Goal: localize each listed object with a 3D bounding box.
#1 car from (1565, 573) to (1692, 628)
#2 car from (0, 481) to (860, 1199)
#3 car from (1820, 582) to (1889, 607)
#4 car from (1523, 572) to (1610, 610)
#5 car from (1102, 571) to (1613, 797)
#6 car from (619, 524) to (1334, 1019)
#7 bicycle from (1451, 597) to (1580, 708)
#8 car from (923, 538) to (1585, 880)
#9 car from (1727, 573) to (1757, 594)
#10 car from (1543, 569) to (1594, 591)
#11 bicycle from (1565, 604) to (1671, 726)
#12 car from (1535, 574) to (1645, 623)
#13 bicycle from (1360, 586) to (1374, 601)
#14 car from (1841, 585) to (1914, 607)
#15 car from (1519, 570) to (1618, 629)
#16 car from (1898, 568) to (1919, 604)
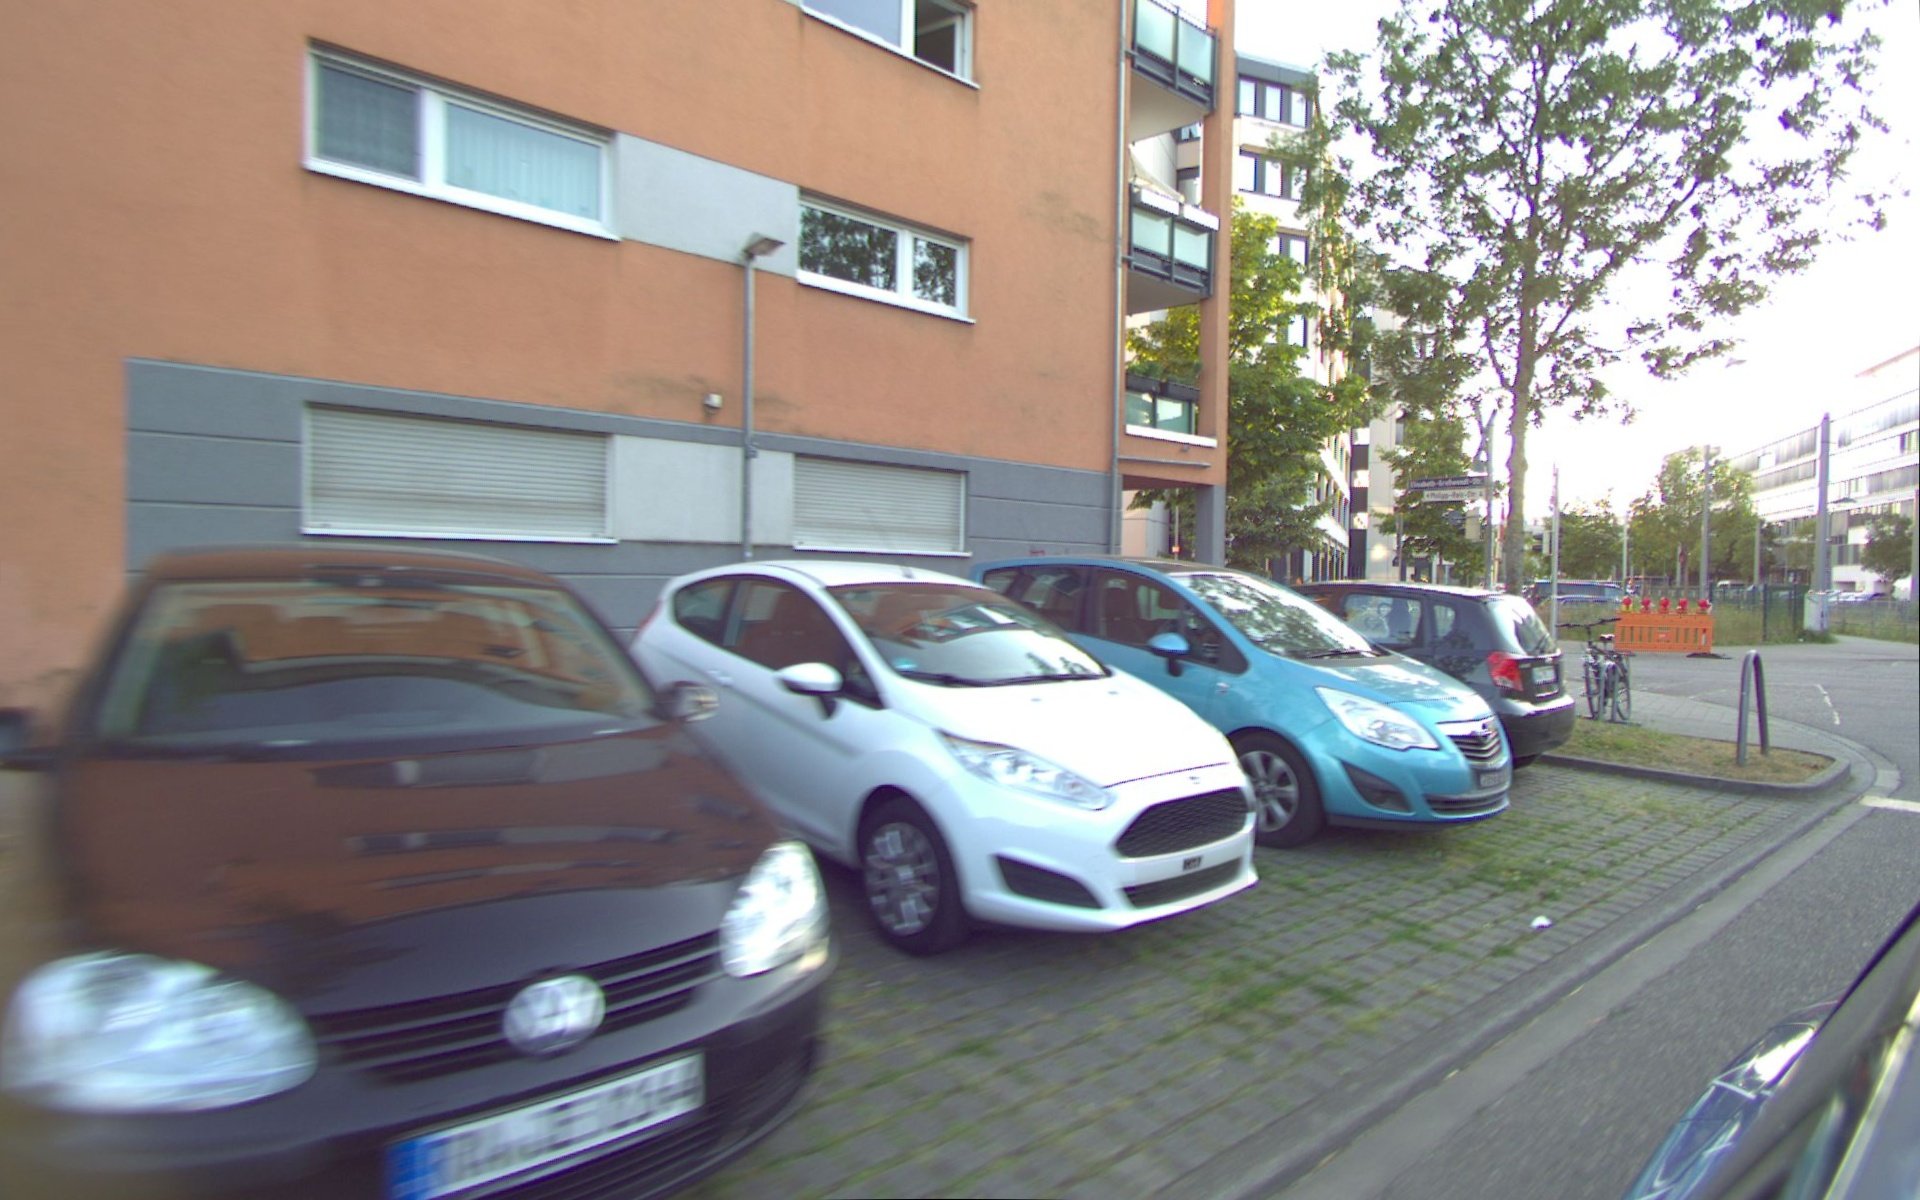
[{"bbox_3d":[26.394,-0.035,40.115,3.964,2.039,1.980,1,1,29],"label":"car"},{"bbox_3d":[-2.009,0.520,3.221,1.512,1.513,3.782,-3,3,-39],"label":"car"},{"bbox_3d":[65.573,-0.425,74.227,3.917,1.778,1.721,1,1,-11],"label":"car"},{"bbox_3d":[33.858,-0.539,56.654,3.960,2.039,1.982,1,1,27],"label":"car"},{"bbox_3d":[3.193,0.515,8.656,1.586,1.492,3.753,0,1,-44],"label":"car"},{"bbox_3d":[-0.269,0.494,5.261,1.591,1.588,3.886,0,1,-39],"label":"car"},{"bbox_3d":[6.519,0.591,11.842,1.894,1.166,0.680,2,2,-42],"label":"bicycle"},{"bbox_3d":[1.637,0.416,6.849,1.643,1.588,4.061,0,3,-39],"label":"car"},{"bbox_3d":[100.471,-2.087,130.083,1.977,2.617,3.970,1,1,22],"label":"car"},{"bbox_3d":[59.073,-1.968,98.387,3.955,2.039,1.985,1,1,23],"label":"car"},{"bbox_3d":[7.167,0.661,10.979,0.716,1.167,1.871,4,1,39],"label":"bicycle"},{"bbox_3d":[27.864,-0.091,44.907,3.964,2.039,1.980,1,1,29],"label":"car"},{"bbox_3d":[27.142,-0.439,67.494,0.806,0.962,2.197,2,1,24],"label":"bicycle"},{"bbox_3d":[62.804,-0.268,69.275,3.916,1.393,1.722,0,1,-13],"label":"car"},{"bbox_3d":[22.410,-0.046,37.255,3.930,2.039,1.997,0,1,-41],"label":"car"},{"bbox_3d":[79.688,-1.135,83.127,1.985,2.911,6.201,3,2,25],"label":"car"}]
